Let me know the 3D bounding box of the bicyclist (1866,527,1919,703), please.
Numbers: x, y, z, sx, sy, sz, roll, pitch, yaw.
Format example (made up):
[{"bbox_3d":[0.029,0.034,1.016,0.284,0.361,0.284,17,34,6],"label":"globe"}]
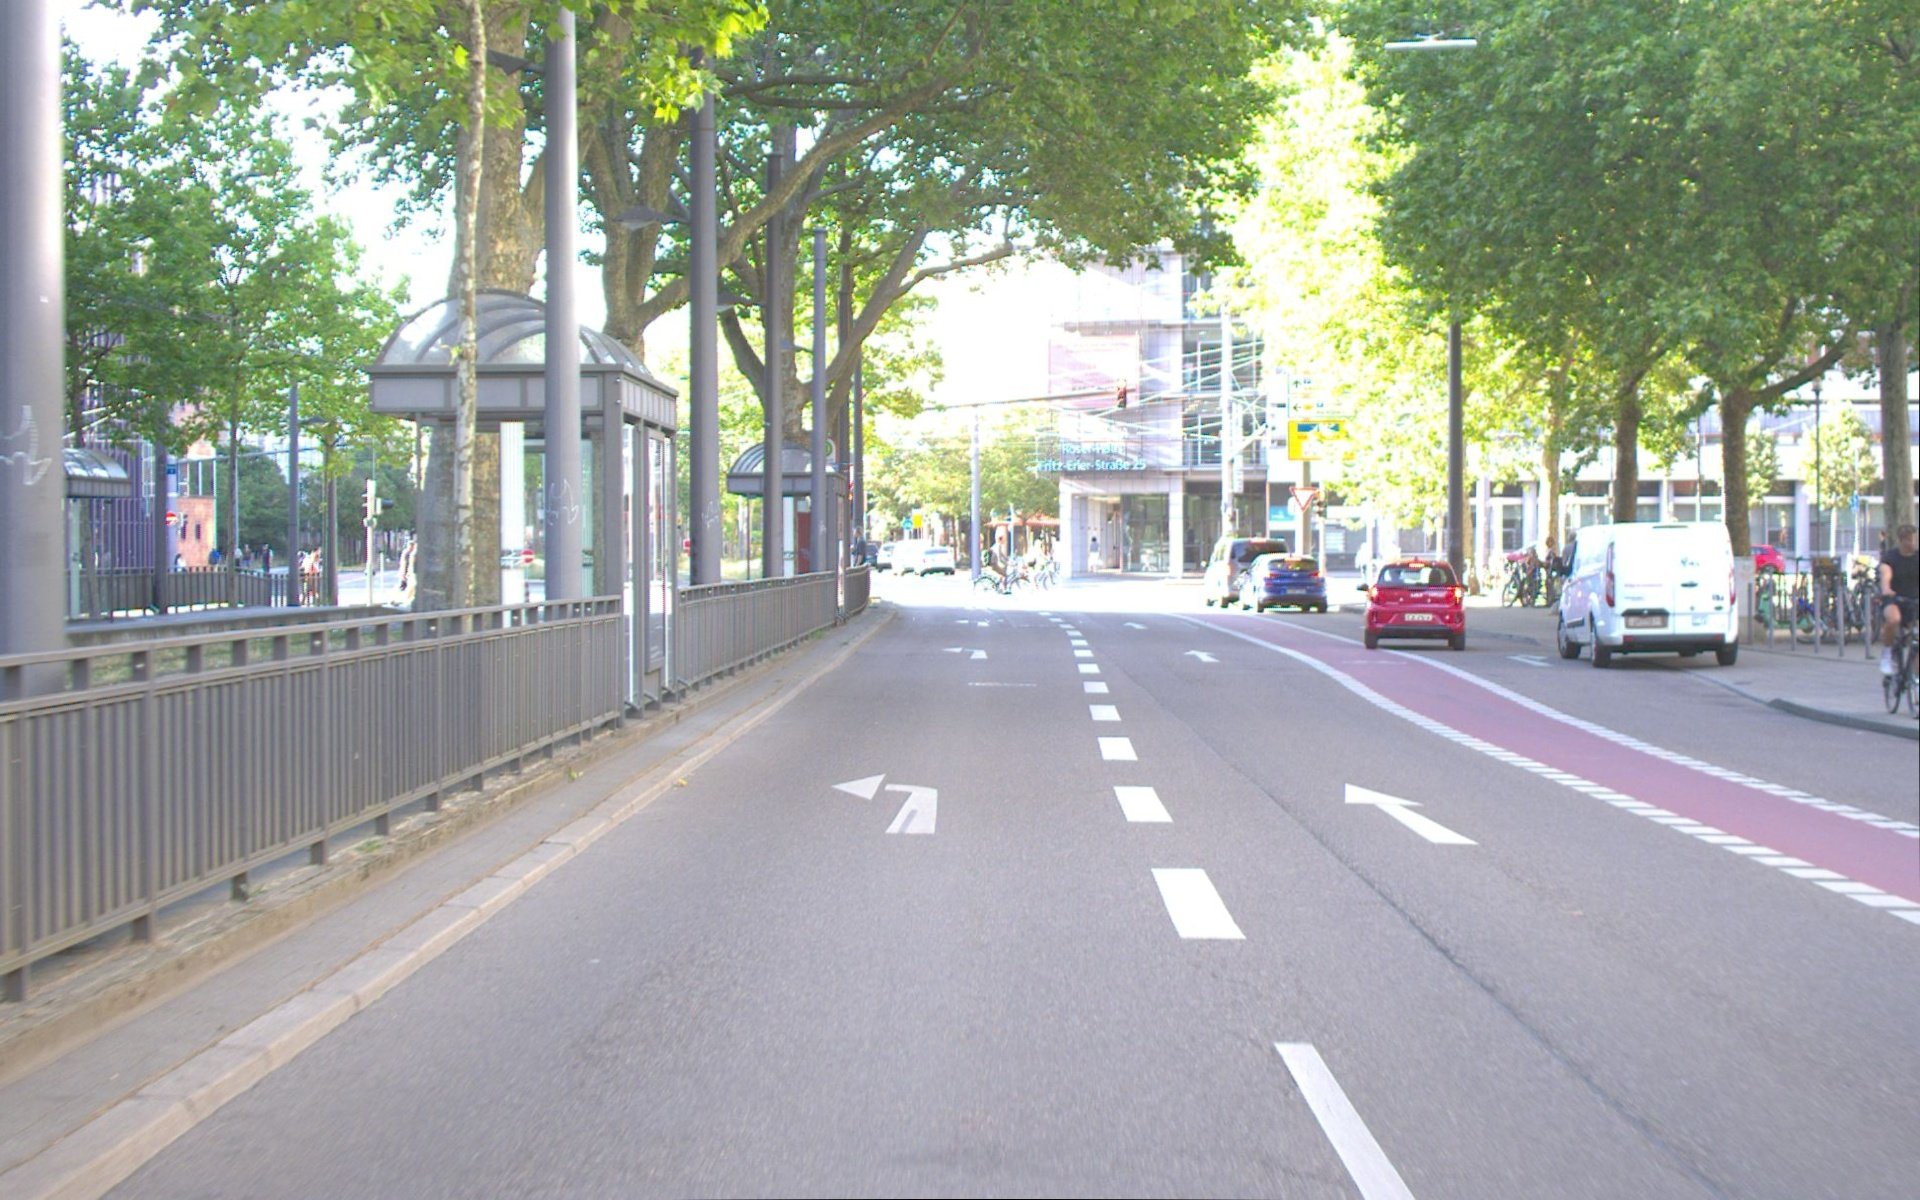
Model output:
[{"bbox_3d":[9.307,0.141,33.598,0.649,1.696,0.952,0,1,0],"label":"bicyclist"}]

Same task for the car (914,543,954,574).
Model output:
[{"bbox_3d":[-1.340,-2.099,173.856,1.777,1.529,3.412,1,1,-4],"label":"car"}]

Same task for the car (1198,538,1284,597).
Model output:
[{"bbox_3d":[7.500,-0.882,92.041,1.777,1.529,3.513,1,1,-4],"label":"car"}]

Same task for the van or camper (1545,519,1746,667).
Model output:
[{"bbox_3d":[9.630,-0.132,48.634,1.993,1.982,4.745,0,1,2],"label":"van or camper"}]

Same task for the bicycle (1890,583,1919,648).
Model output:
[{"bbox_3d":[15.127,0.239,54.039,0.503,0.978,1.768,-1,1,0],"label":"bicycle"}]

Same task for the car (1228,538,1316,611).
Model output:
[{"bbox_3d":[7.776,-0.657,85.911,1.635,1.794,3.330,0,1,-5],"label":"car"}]

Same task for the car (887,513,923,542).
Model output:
[{"bbox_3d":[-2.982,-3.934,186.459,1.777,1.583,3.412,1,1,-4],"label":"car"}]

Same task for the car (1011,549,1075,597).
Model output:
[{"bbox_3d":[2.723,-0.918,113.902,1.777,1.529,3.513,1,1,-4],"label":"car"}]

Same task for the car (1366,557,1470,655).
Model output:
[{"bbox_3d":[7.527,0.071,56.761,1.613,1.529,3.411,1,1,6],"label":"car"}]

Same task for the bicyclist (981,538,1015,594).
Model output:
[{"bbox_3d":[1.093,-0.988,99.398,0.836,1.586,0.840,0,1,-8],"label":"bicyclist"}]

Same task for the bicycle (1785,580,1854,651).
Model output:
[{"bbox_3d":[13.512,0.236,54.060,0.586,1.063,1.900,-1,1,0],"label":"bicycle"}]

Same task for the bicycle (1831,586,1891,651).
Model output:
[{"bbox_3d":[14.154,0.277,54.039,0.467,0.978,1.768,-1,1,0],"label":"bicycle"}]

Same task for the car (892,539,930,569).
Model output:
[{"bbox_3d":[-2.605,-2.420,180.464,1.777,1.529,3.412,1,1,-4],"label":"car"}]

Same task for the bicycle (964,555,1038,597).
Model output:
[{"bbox_3d":[1.187,-0.697,99.436,2.011,1.210,0.840,0,1,-8],"label":"bicycle"}]

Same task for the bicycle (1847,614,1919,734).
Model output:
[{"bbox_3d":[9.289,0.694,33.400,0.683,1.063,2.469,-1,1,0],"label":"bicycle"}]
